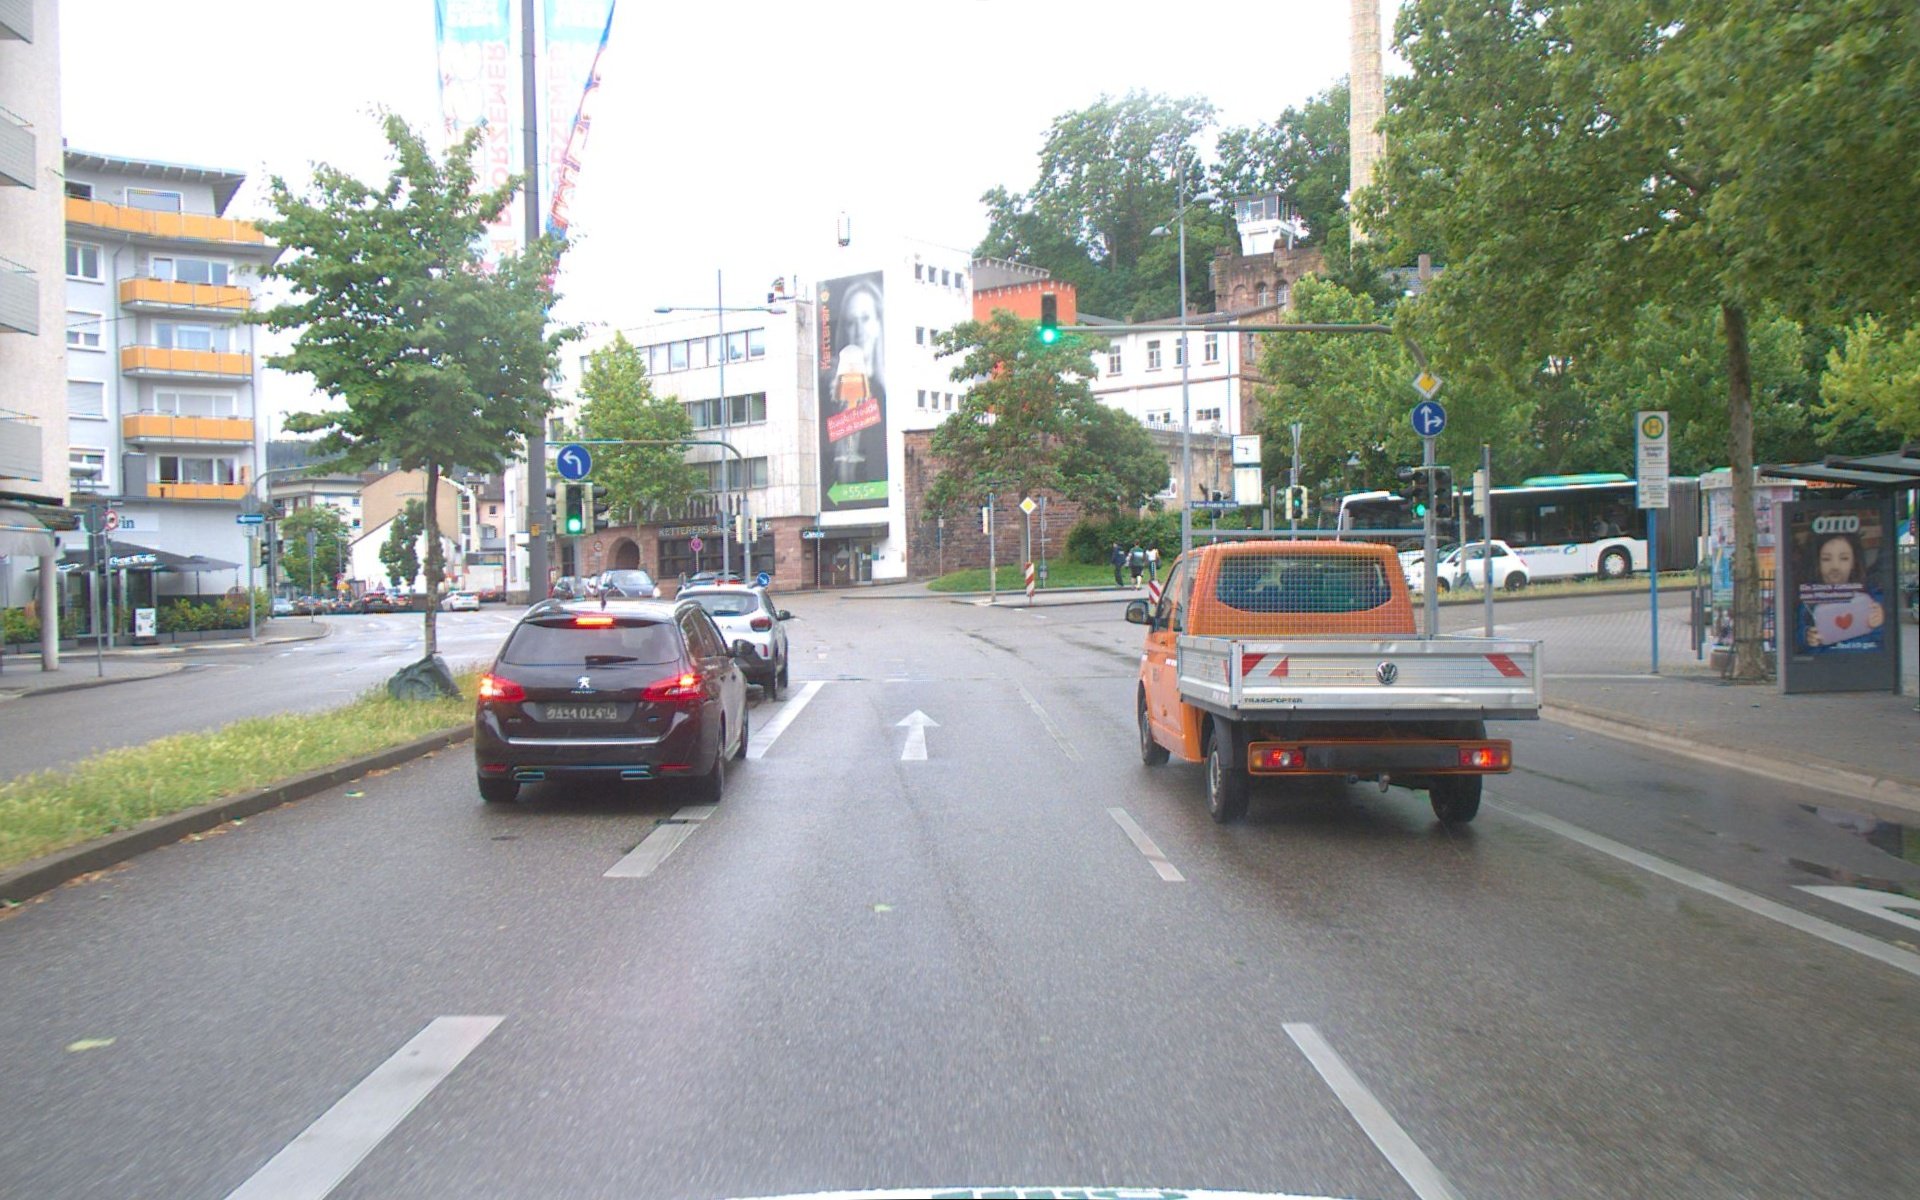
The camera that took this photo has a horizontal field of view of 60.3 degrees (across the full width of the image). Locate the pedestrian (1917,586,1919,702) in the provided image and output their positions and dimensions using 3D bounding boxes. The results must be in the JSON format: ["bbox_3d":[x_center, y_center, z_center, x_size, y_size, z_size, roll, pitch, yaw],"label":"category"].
[{"bbox_3d":[10.862,0.487,18.150,0.488,1.293,0.401,-2,2,-1],"label":"pedestrian"}]

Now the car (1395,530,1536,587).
[{"bbox_3d":[14.261,-1.192,46.773,3.487,1.476,1.589,-2,3,-4],"label":"car"}]

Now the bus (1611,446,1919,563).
[{"bbox_3d":[24.610,-2.921,50.572,8.361,3.235,2.687,-2,3,-3],"label":"bus"}]

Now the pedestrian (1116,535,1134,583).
[{"bbox_3d":[5.707,-1.424,57.275,0.554,1.644,0.691,0,0,2],"label":"pedestrian"}]

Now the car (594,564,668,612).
[{"bbox_3d":[-12.137,-0.459,60.883,1.733,1.642,4.179,-3,2,-24],"label":"car"}]

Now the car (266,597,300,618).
[{"bbox_3d":[-52.689,0.605,128.660,1.716,1.465,4.365,-3,1,-32],"label":"car"}]

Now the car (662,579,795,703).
[{"bbox_3d":[-3.117,0.493,22.785,1.506,1.486,3.627,-2,1,-4],"label":"car"}]

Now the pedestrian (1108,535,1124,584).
[{"bbox_3d":[5.852,-1.499,61.992,0.584,1.812,0.657,0,0,8],"label":"pedestrian"}]

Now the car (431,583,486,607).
[{"bbox_3d":[-31.827,-0.345,104.896,3.799,1.420,1.660,1,3,43],"label":"car"}]

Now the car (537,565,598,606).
[{"bbox_3d":[-16.951,-0.655,71.280,1.733,1.642,4.179,-3,2,-24],"label":"car"}]

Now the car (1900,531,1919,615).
[{"bbox_3d":[19.851,-0.519,31.028,1.764,1.640,4.259,-2,2,-4],"label":"car"}]

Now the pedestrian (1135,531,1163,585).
[{"bbox_3d":[6.541,-1.455,57.298,0.861,1.863,0.729,-1,0,0],"label":"pedestrian"}]

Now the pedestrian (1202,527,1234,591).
[{"bbox_3d":[8.442,-1.346,54.114,0.771,2.048,0.587,-2,3,34],"label":"pedestrian"}]

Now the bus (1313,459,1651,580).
[{"bbox_3d":[15.737,-2.454,50.172,9.436,3.272,2.704,-2,3,-4],"label":"bus"}]

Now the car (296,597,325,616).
[{"bbox_3d":[-54.585,0.541,139.035,1.648,1.420,3.827,-2,2,-30],"label":"car"}]

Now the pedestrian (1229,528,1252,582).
[{"bbox_3d":[9.161,-1.465,54.045,0.545,1.735,0.528,-3,2,-4],"label":"pedestrian"}]

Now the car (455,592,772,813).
[{"bbox_3d":[-2.586,0.678,13.357,1.763,1.459,4.395,-1,0,-2],"label":"car"}]

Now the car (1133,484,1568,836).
[{"bbox_3d":[2.672,0.342,12.852,2.059,2.126,5.541,-1,0,0],"label":"car"}]

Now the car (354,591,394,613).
[{"bbox_3d":[-41.075,0.128,115.878,1.651,1.420,3.819,-2,2,-35],"label":"car"}]

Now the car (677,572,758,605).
[{"bbox_3d":[-10.980,-0.489,74.580,1.775,1.427,4.576,1,-1,-35],"label":"car"}]

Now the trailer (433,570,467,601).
[{"bbox_3d":[-49.747,-1.392,161.302,2.104,2.763,5.341,-5,2,-28],"label":"trailer"}]
